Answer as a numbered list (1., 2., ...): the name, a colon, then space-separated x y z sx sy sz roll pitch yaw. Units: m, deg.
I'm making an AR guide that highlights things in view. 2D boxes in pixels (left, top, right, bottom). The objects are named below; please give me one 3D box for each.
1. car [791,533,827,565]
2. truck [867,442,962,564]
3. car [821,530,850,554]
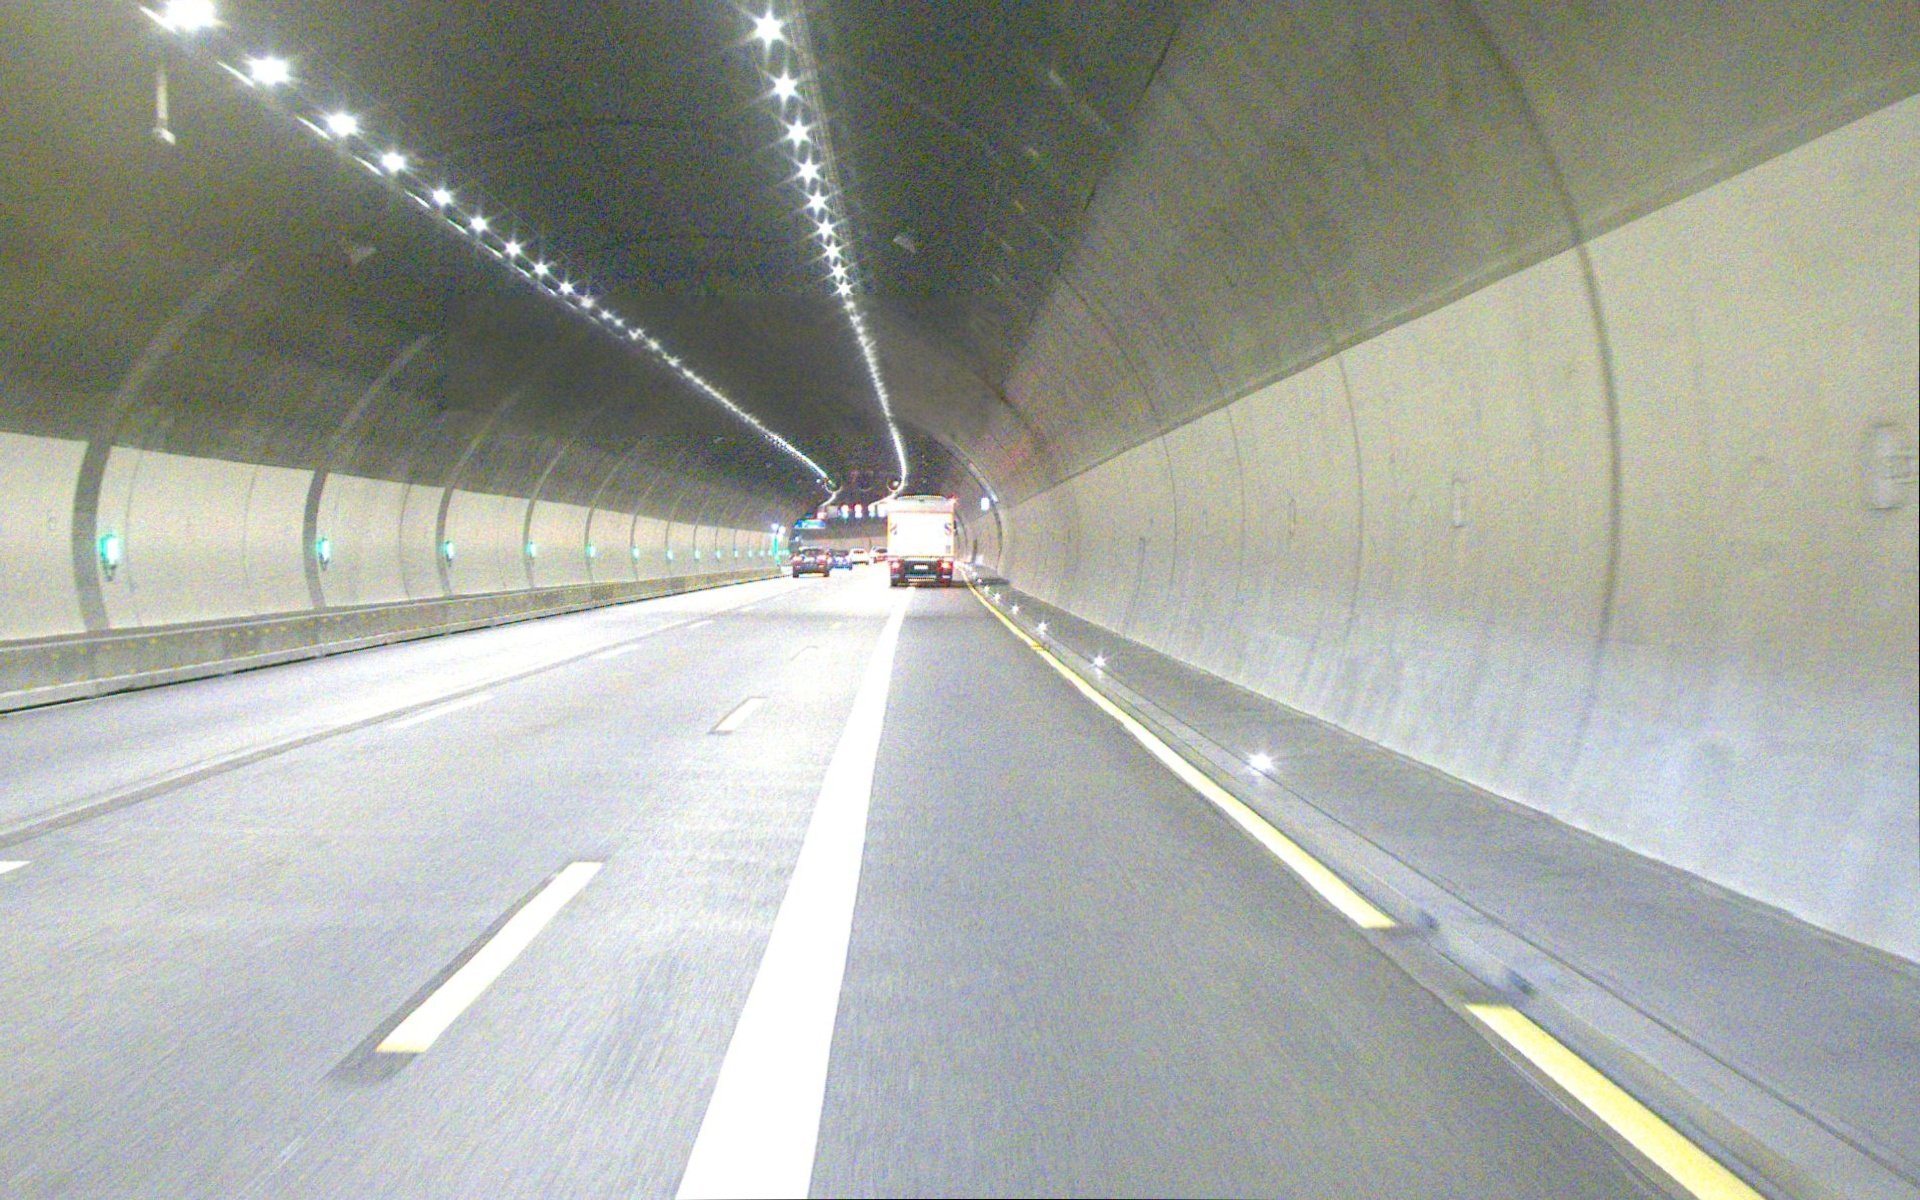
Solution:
1. car: -7.794 -2.633 177.667 1.812 1.612 4.001 1 1 -3
2. truck: -1.974 -3.892 139.916 3.278 4.634 17.289 -1 1 -2
3. car: -8.541 -4.006 235.714 1.812 1.514 4.001 1 3 -4
